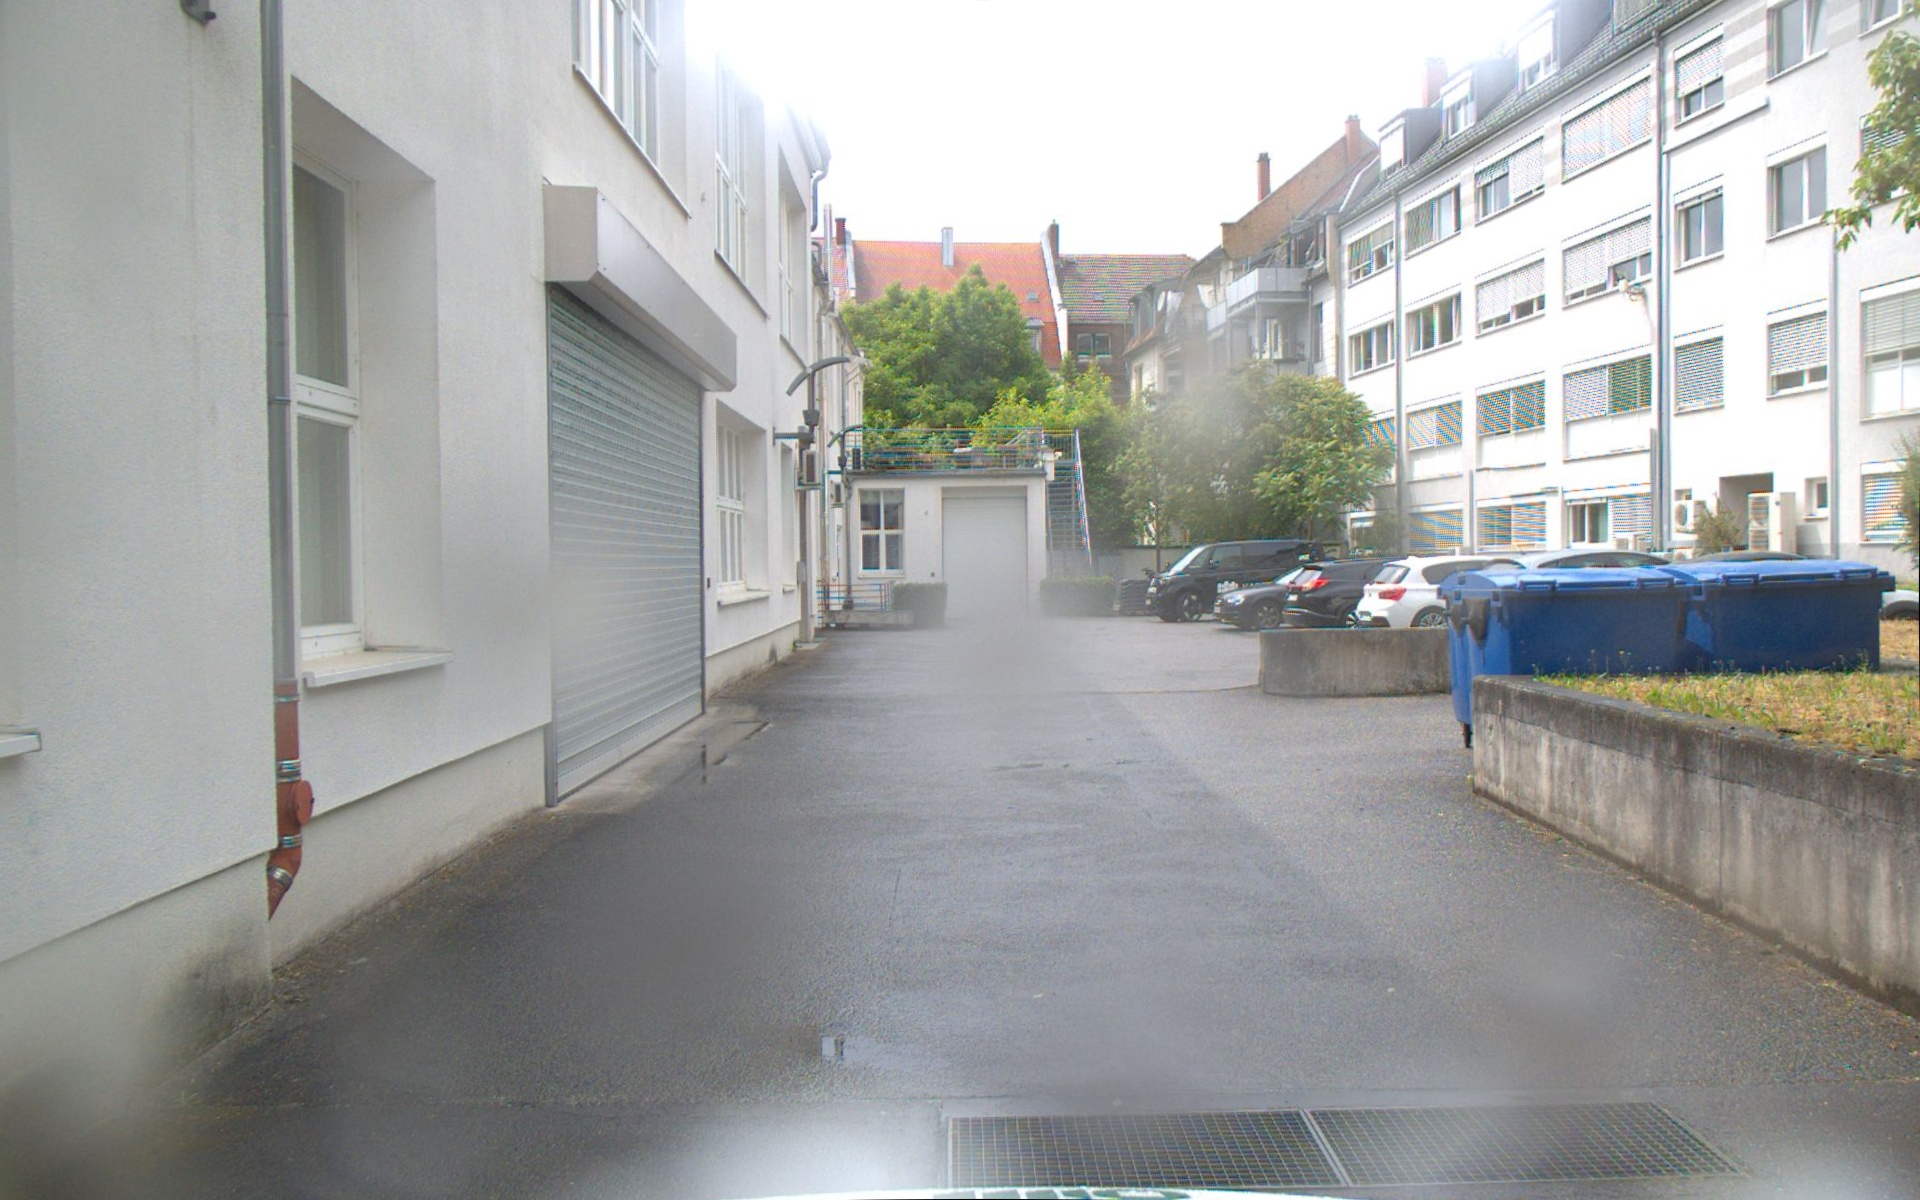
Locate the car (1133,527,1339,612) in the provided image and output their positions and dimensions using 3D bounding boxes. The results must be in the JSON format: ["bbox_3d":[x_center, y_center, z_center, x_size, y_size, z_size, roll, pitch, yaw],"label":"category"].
[{"bbox_3d":[6.815,-0.779,41.095,4.620,1.865,2.108,-3,2,-7],"label":"car"}]

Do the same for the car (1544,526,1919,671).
[{"bbox_3d":[9.038,-0.053,19.096,3.907,1.377,1.791,-3,2,-1],"label":"car"}]

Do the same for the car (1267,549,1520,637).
[{"bbox_3d":[7.977,-0.153,30.653,4.091,1.425,1.937,-2,1,-7],"label":"car"}]

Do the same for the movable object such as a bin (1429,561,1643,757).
[{"bbox_3d":[4.275,0.411,12.365,1.204,1.340,1.056,-2,3,-1],"label":"movable object such as a bin"}]

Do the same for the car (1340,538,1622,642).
[{"bbox_3d":[8.516,-0.189,27.219,4.018,1.480,1.832,-2,2,-5],"label":"car"}]

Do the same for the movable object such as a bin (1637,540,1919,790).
[{"bbox_3d":[5.202,0.378,10.586,1.249,1.508,1.102,0,2,-1],"label":"movable object such as a bin"}]

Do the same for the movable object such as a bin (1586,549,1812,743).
[{"bbox_3d":[5.505,0.314,12.395,1.204,1.340,1.056,-2,3,-1],"label":"movable object such as a bin"}]

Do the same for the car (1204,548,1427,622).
[{"bbox_3d":[7.540,-0.350,35.300,4.271,1.372,1.858,-2,2,-7],"label":"car"}]

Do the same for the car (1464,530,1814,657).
[{"bbox_3d":[9.020,-0.099,22.136,4.000,1.483,1.667,-2,1,-5],"label":"car"}]

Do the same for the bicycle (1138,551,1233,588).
[{"bbox_3d":[6.861,-0.917,50.334,2.787,1.097,0.689,0,2,-4],"label":"bicycle"}]

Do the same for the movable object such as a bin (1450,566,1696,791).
[{"bbox_3d":[3.883,0.472,10.584,1.150,1.340,1.056,0,3,-1],"label":"movable object such as a bin"}]
